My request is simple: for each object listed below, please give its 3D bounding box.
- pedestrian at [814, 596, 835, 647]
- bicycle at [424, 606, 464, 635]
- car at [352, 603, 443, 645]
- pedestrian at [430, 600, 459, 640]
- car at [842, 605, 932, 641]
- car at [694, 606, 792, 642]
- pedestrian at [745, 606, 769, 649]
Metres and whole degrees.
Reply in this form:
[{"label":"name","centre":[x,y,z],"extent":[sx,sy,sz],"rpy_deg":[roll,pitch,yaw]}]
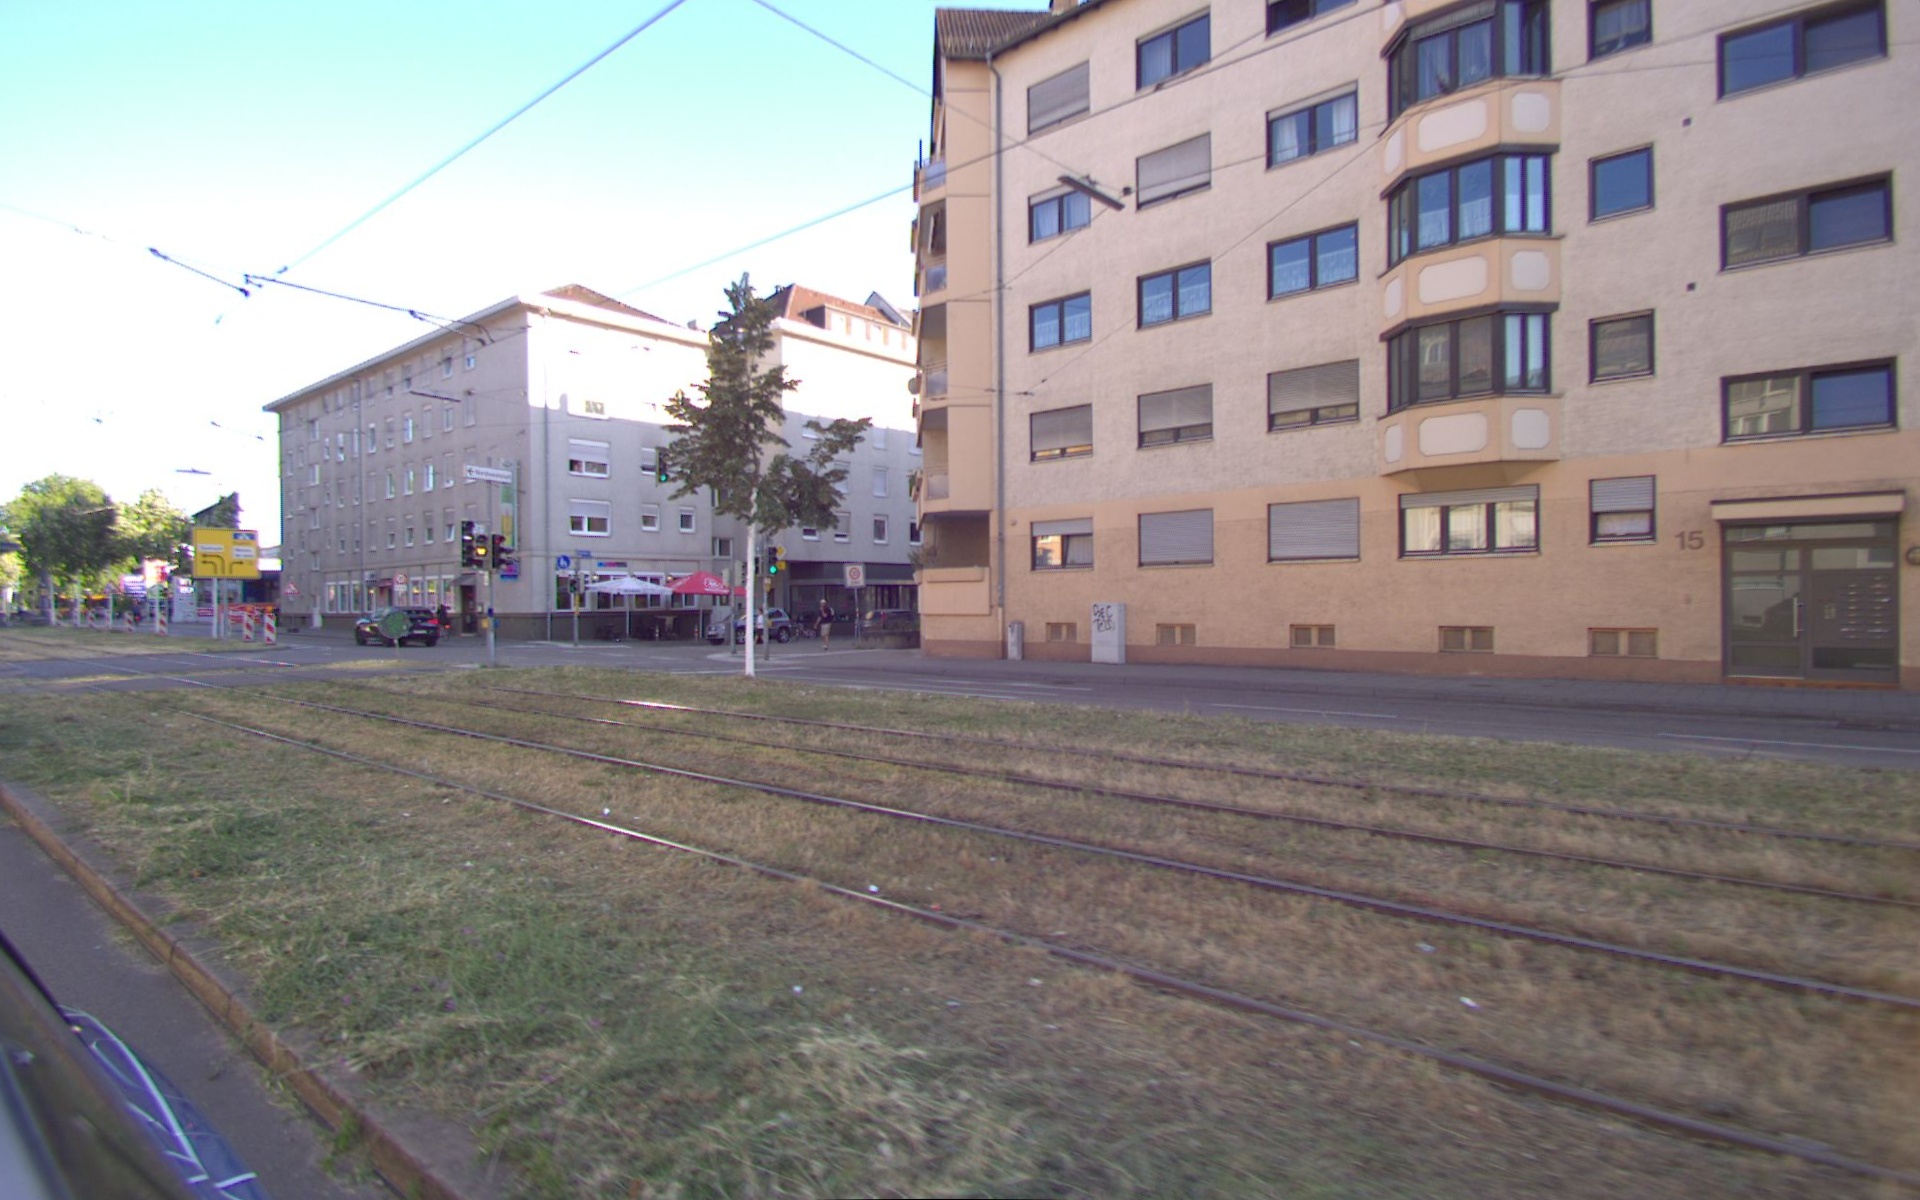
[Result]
[{"label":"pedestrian","centre":[-4.858,0.764,36.255],"extent":[0.625,1.784,0.827],"rpy_deg":[0,0,-19]},{"label":"bicycle","centre":[-25.558,0.985,50.097],"extent":[3.235,1.388,0.572],"rpy_deg":[0,-1,41]},{"label":"car","centre":[-23.166,0.977,41.621],"extent":[4.467,1.603,1.897],"rpy_deg":[-1,-1,41]},{"label":"pedestrian","centre":[-22.967,0.902,45.096],"extent":[1.225,1.754,0.733],"rpy_deg":[-1,-1,41]},{"label":"car","centre":[-3.122,0.979,43.982],"extent":[1.812,1.519,3.952],"rpy_deg":[-1,-1,35]},{"label":"car","centre":[-9.580,1.023,44.959],"extent":[1.997,1.519,3.950],"rpy_deg":[-1,0,37]},{"label":"pedestrian","centre":[-7.227,0.961,35.957],"extent":[0.582,1.501,0.616],"rpy_deg":[0,0,41]}]
